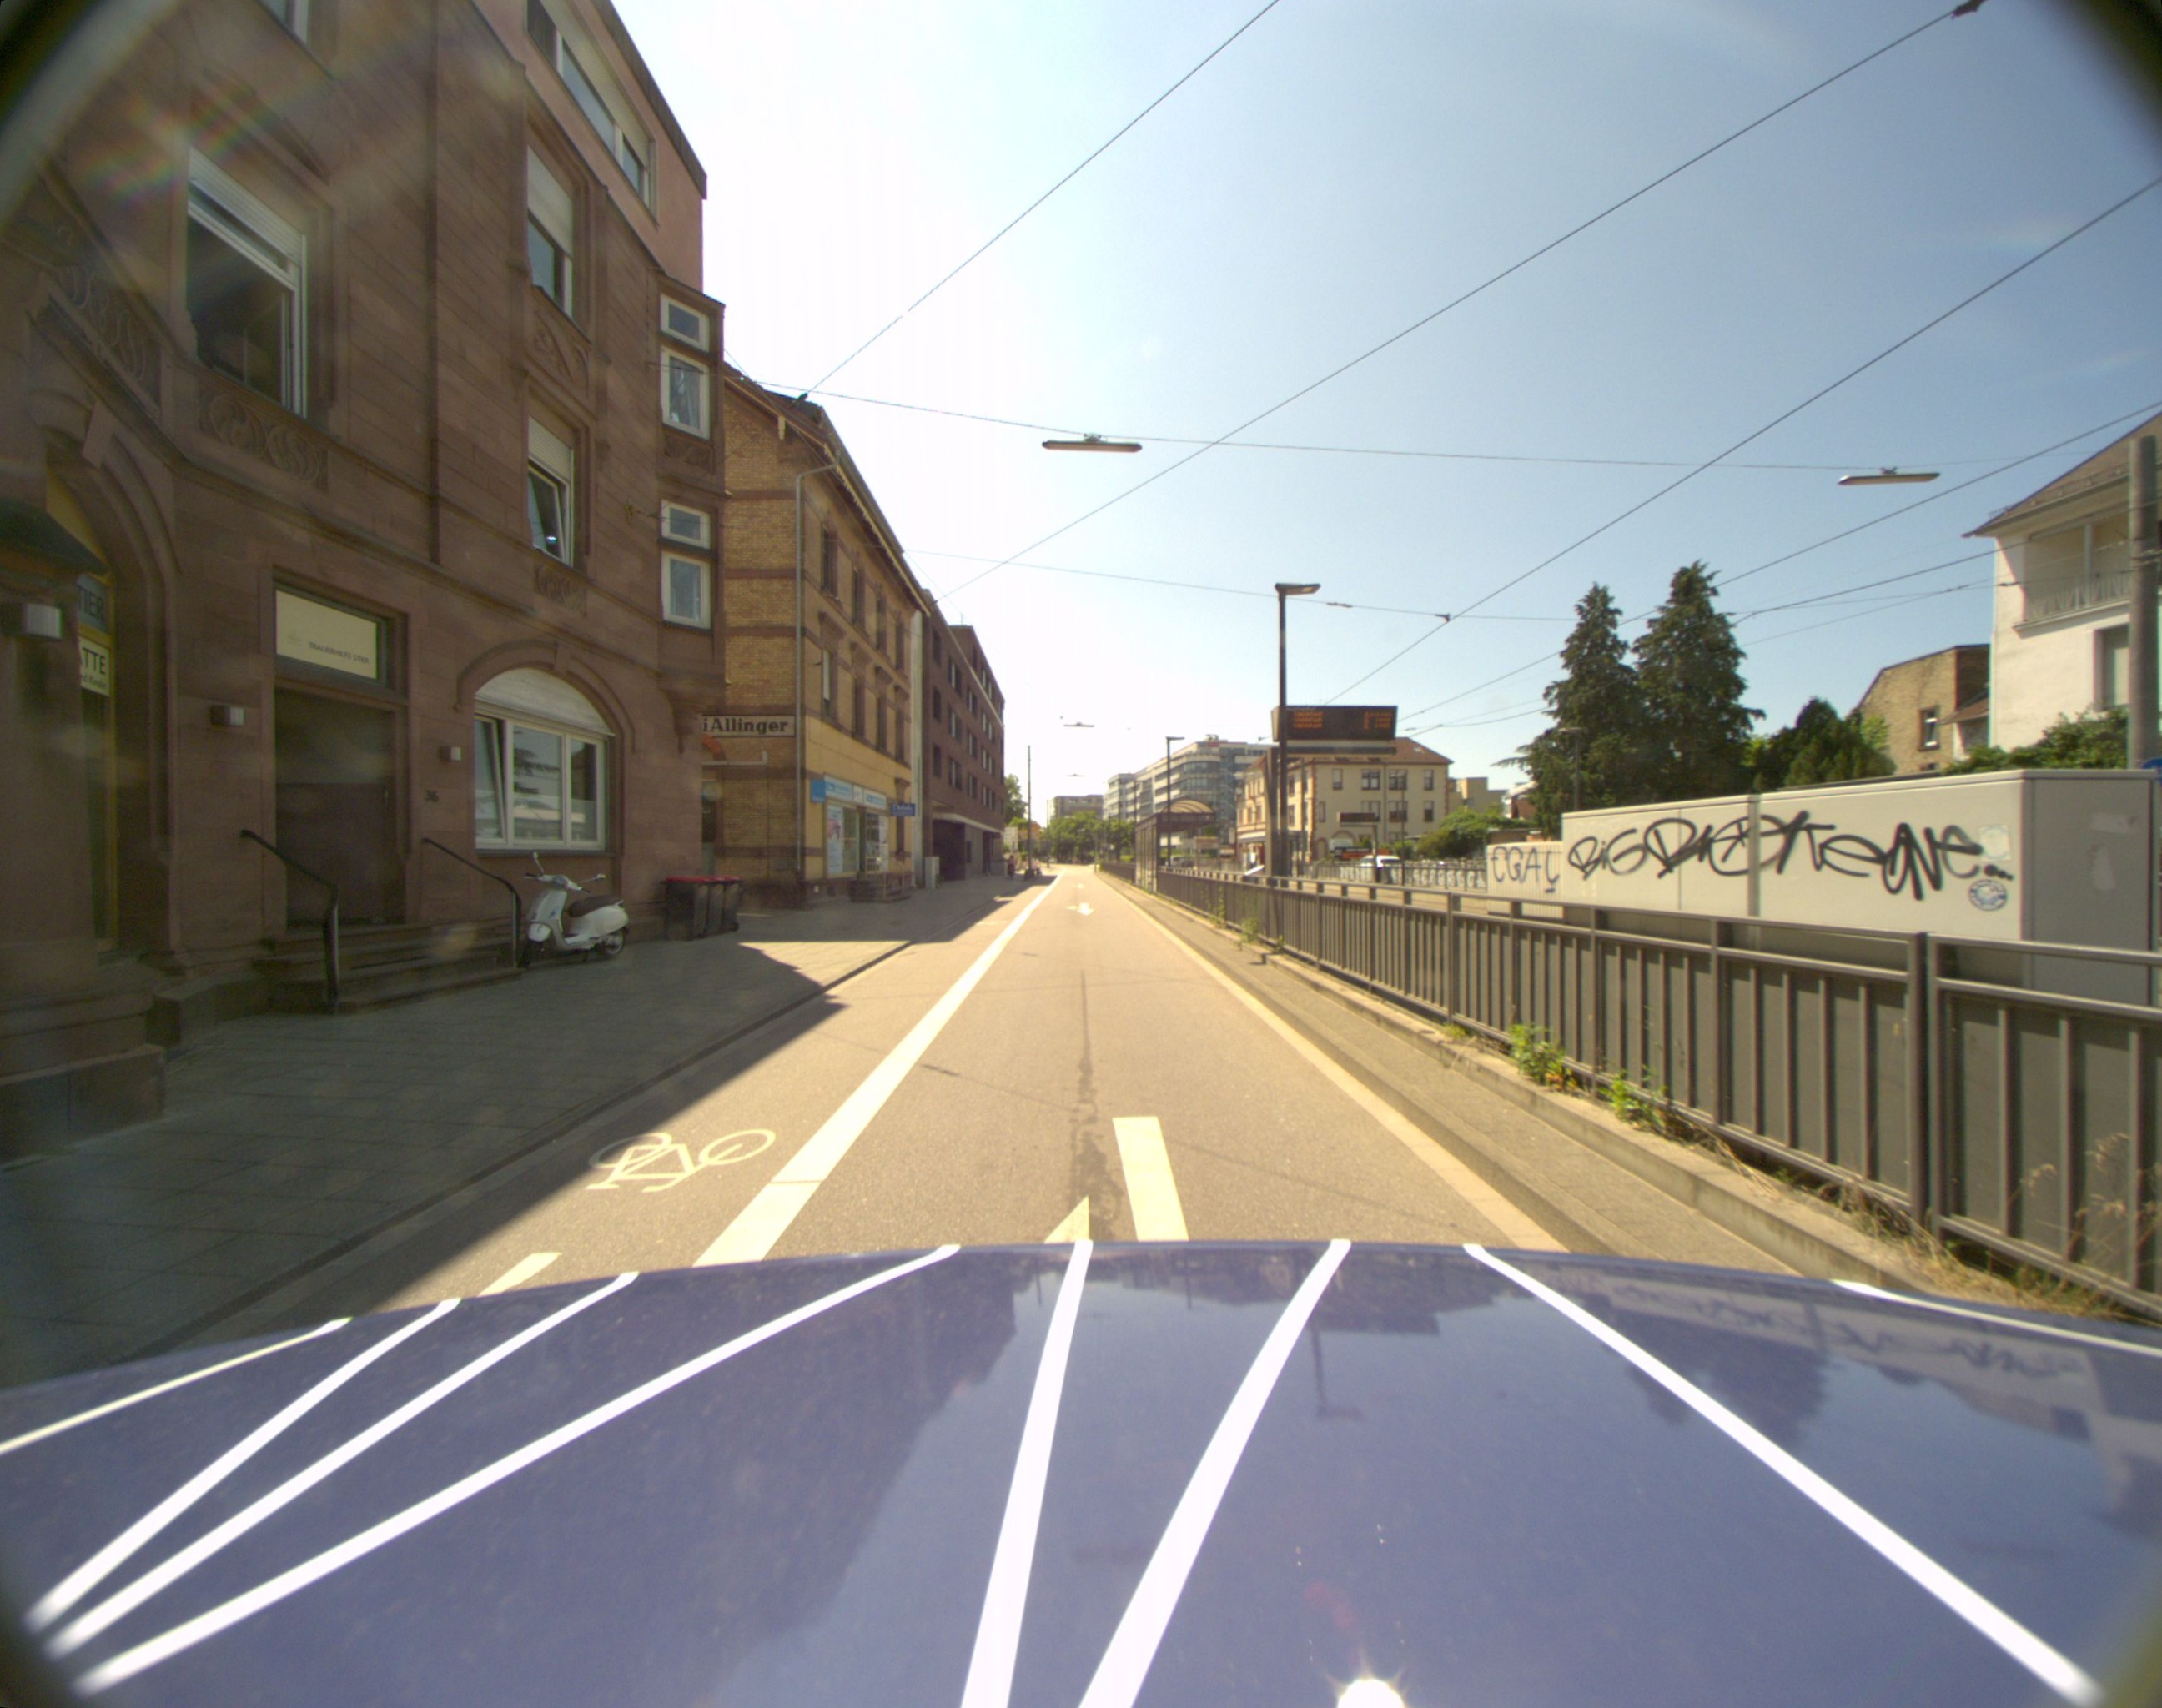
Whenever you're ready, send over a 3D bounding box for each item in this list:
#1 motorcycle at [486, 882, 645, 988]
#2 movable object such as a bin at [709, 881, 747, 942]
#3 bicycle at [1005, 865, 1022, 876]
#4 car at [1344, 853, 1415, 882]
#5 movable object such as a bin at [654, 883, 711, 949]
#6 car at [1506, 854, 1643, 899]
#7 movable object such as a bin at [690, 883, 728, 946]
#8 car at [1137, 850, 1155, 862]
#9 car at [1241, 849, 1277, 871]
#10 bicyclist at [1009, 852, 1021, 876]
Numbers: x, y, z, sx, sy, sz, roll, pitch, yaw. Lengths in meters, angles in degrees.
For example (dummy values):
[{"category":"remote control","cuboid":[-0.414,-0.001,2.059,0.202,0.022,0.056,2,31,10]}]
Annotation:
[{"category":"motorcycle","cuboid":[-6.444,0.965,9.635,0.527,1.142,1.881,0,0,8]},{"category":"movable object such as a bin","cuboid":[-6.469,1.043,13.941,0.376,1.042,0.657,2,0,0]},{"category":"bicycle","cuboid":[-4.925,1.202,55.674,0.689,0.793,1.909,-1,0,11]},{"category":"car","cuboid":[16.110,0.711,41.327,1.823,1.459,4.622,1,0,-3]},{"category":"movable object such as a bin","cuboid":[-6.689,1.033,12.772,0.649,1.042,0.559,2,1,-1]},{"category":"car","cuboid":[16.669,0.713,25.960,1.823,1.387,4.174,1,0,-3]},{"category":"movable object such as a bin","cuboid":[-6.528,1.050,13.350,0.376,1.042,0.559,2,1,0]},{"category":"car","cuboid":[9.822,0.337,115.333,1.999,1.827,3.998,-1,0,-5]},{"category":"car","cuboid":[15.779,0.505,67.584,1.861,1.806,4.696,1,0,-3]},{"category":"bicyclist","cuboid":[-4.862,0.719,56.053,0.671,1.712,0.929,-1,0,10]}]
